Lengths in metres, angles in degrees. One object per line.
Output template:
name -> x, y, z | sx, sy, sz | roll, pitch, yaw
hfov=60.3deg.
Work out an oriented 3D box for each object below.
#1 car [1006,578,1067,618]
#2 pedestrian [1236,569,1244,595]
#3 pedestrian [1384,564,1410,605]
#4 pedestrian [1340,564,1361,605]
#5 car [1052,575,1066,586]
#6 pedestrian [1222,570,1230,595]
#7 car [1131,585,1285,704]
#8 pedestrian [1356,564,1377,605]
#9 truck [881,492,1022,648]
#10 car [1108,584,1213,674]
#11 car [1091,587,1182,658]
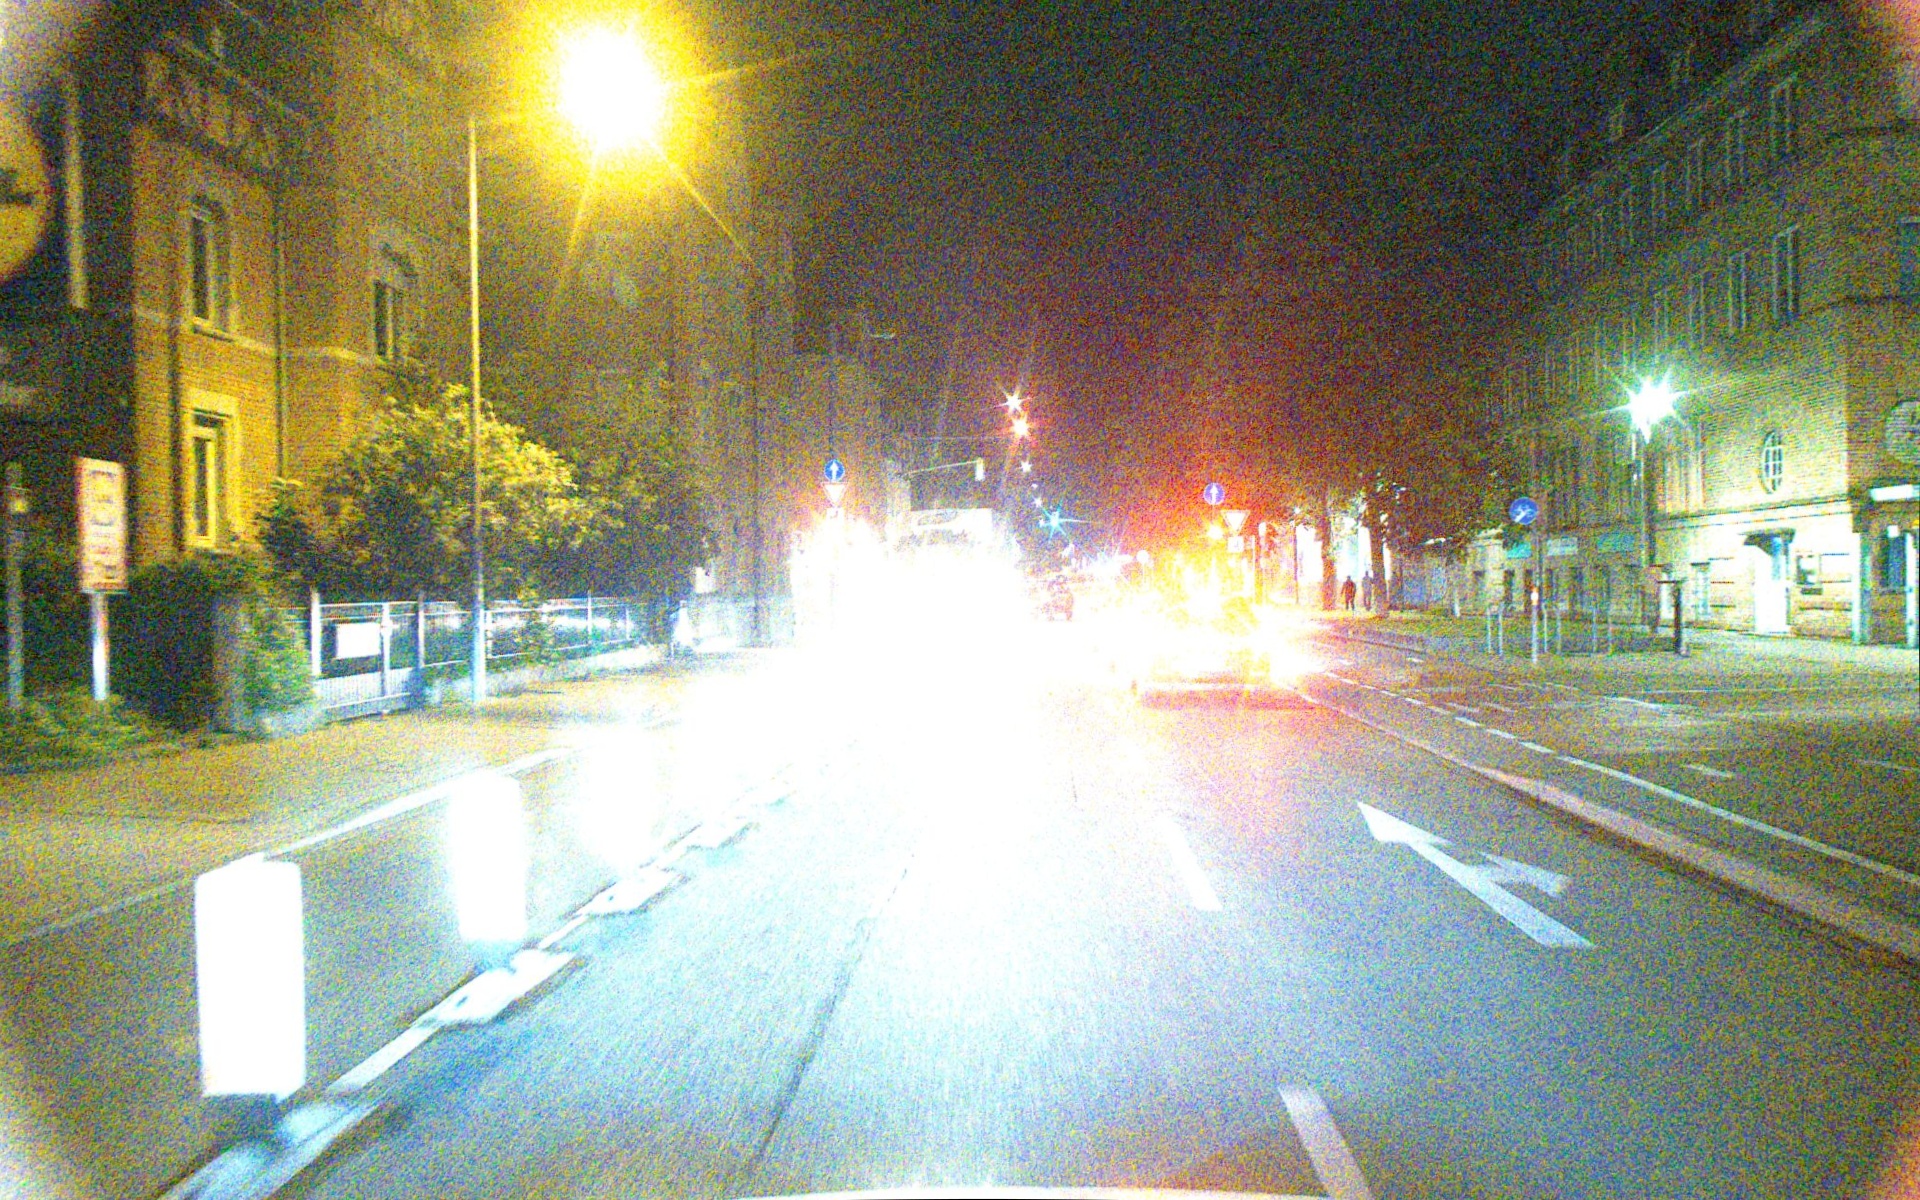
car -> 3.403, -0.103, 72.985 | 1.951, 1.668, 4.003 | -1, 0, 13
pedestrian -> 22.602, -1.472, 133.485 | 0.477, 2.049, 0.551 | -2, 0, 2
pedestrian -> 19.535, -0.708, 73.907 | 0.882, 1.800, 0.907 | -2, 0, 3
pedestrian -> 17.430, -0.691, 73.887 | 0.699, 1.800, 0.907 | -2, 0, 3
car -> 15.496, -3.011, 259.504 | 1.952, 1.624, 4.000 | -1, 0, 1
pedestrian -> 21.485, -1.417, 133.403 | 0.520, 2.049, 0.670 | -2, 0, 2
car -> 3.451, 0.559, 23.765 | 1.767, 1.520, 4.732 | 1, 0, 4
pedestrian -> 18.201, -0.676, 74.076 | 0.723, 1.800, 0.907 | -2, 0, 3
truck -> -0.038, -0.806, 46.551 | 2.697, 3.782, 10.120 | -2, 0, 6
car -> 3.581, 0.475, 30.080 | 1.603, 1.520, 4.002 | 1, 1, 3
car -> 3.863, 0.452, 36.793 | 1.693, 1.460, 4.212 | 1, 1, 2
